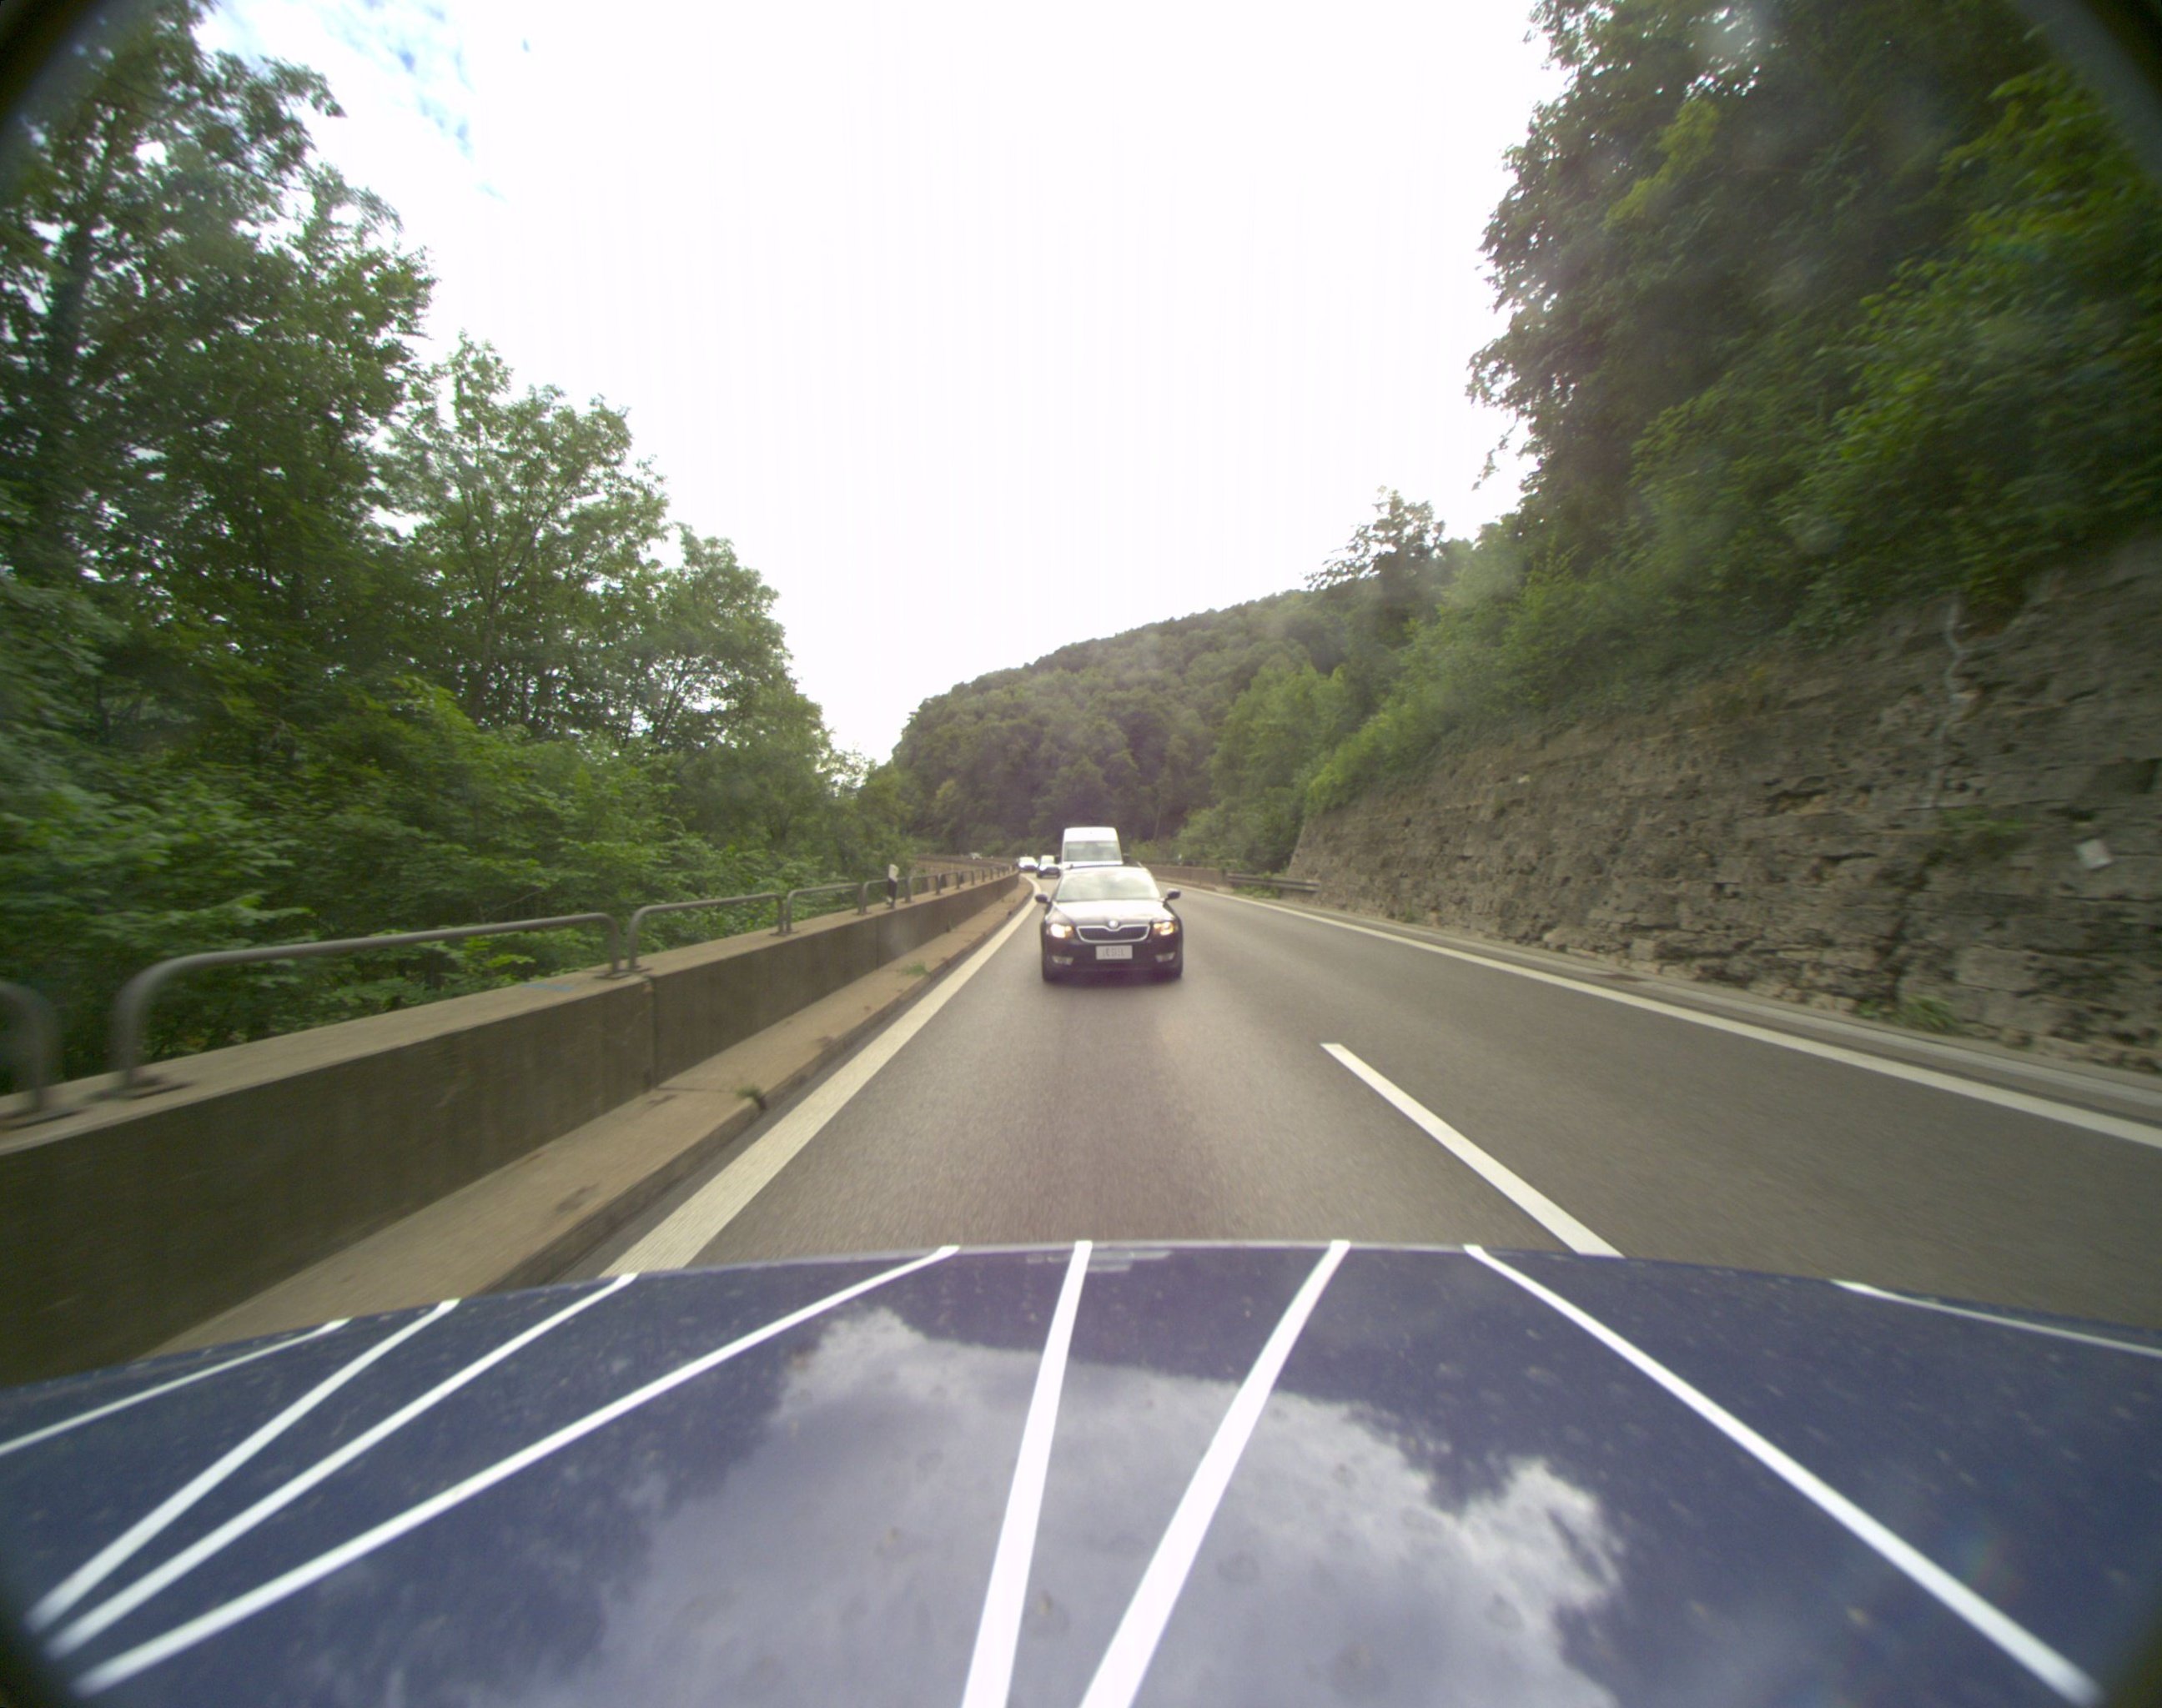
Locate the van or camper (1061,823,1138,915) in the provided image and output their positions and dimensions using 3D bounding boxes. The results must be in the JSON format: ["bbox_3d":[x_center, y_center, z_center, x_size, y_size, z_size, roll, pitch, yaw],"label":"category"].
[{"bbox_3d":[0.453,0.403,24.415,2.082,2.575,5.910,-1,0,-2],"label":"van or camper"}]

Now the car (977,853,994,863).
[{"bbox_3d":[-14.564,0.616,115.883,1.890,1.312,3.993,-2,1,-19],"label":"car"}]

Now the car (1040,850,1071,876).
[{"bbox_3d":[-1.853,0.639,54.666,1.965,1.696,3.997,-2,1,-5],"label":"car"}]

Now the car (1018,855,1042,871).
[{"bbox_3d":[-4.795,0.817,71.084,1.889,1.312,3.996,-2,1,-9],"label":"car"}]

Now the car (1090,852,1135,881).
[{"bbox_3d":[1.862,0.751,46.826,1.999,1.622,5.006,-2,0,-6],"label":"car"}]

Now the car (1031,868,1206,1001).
[{"bbox_3d":[0.462,0.968,11.160,1.998,1.389,5.008,0,0,1],"label":"car"}]

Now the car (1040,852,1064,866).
[{"bbox_3d":[-3.097,0.524,80.262,1.890,1.312,3.995,-2,1,-13],"label":"car"}]
